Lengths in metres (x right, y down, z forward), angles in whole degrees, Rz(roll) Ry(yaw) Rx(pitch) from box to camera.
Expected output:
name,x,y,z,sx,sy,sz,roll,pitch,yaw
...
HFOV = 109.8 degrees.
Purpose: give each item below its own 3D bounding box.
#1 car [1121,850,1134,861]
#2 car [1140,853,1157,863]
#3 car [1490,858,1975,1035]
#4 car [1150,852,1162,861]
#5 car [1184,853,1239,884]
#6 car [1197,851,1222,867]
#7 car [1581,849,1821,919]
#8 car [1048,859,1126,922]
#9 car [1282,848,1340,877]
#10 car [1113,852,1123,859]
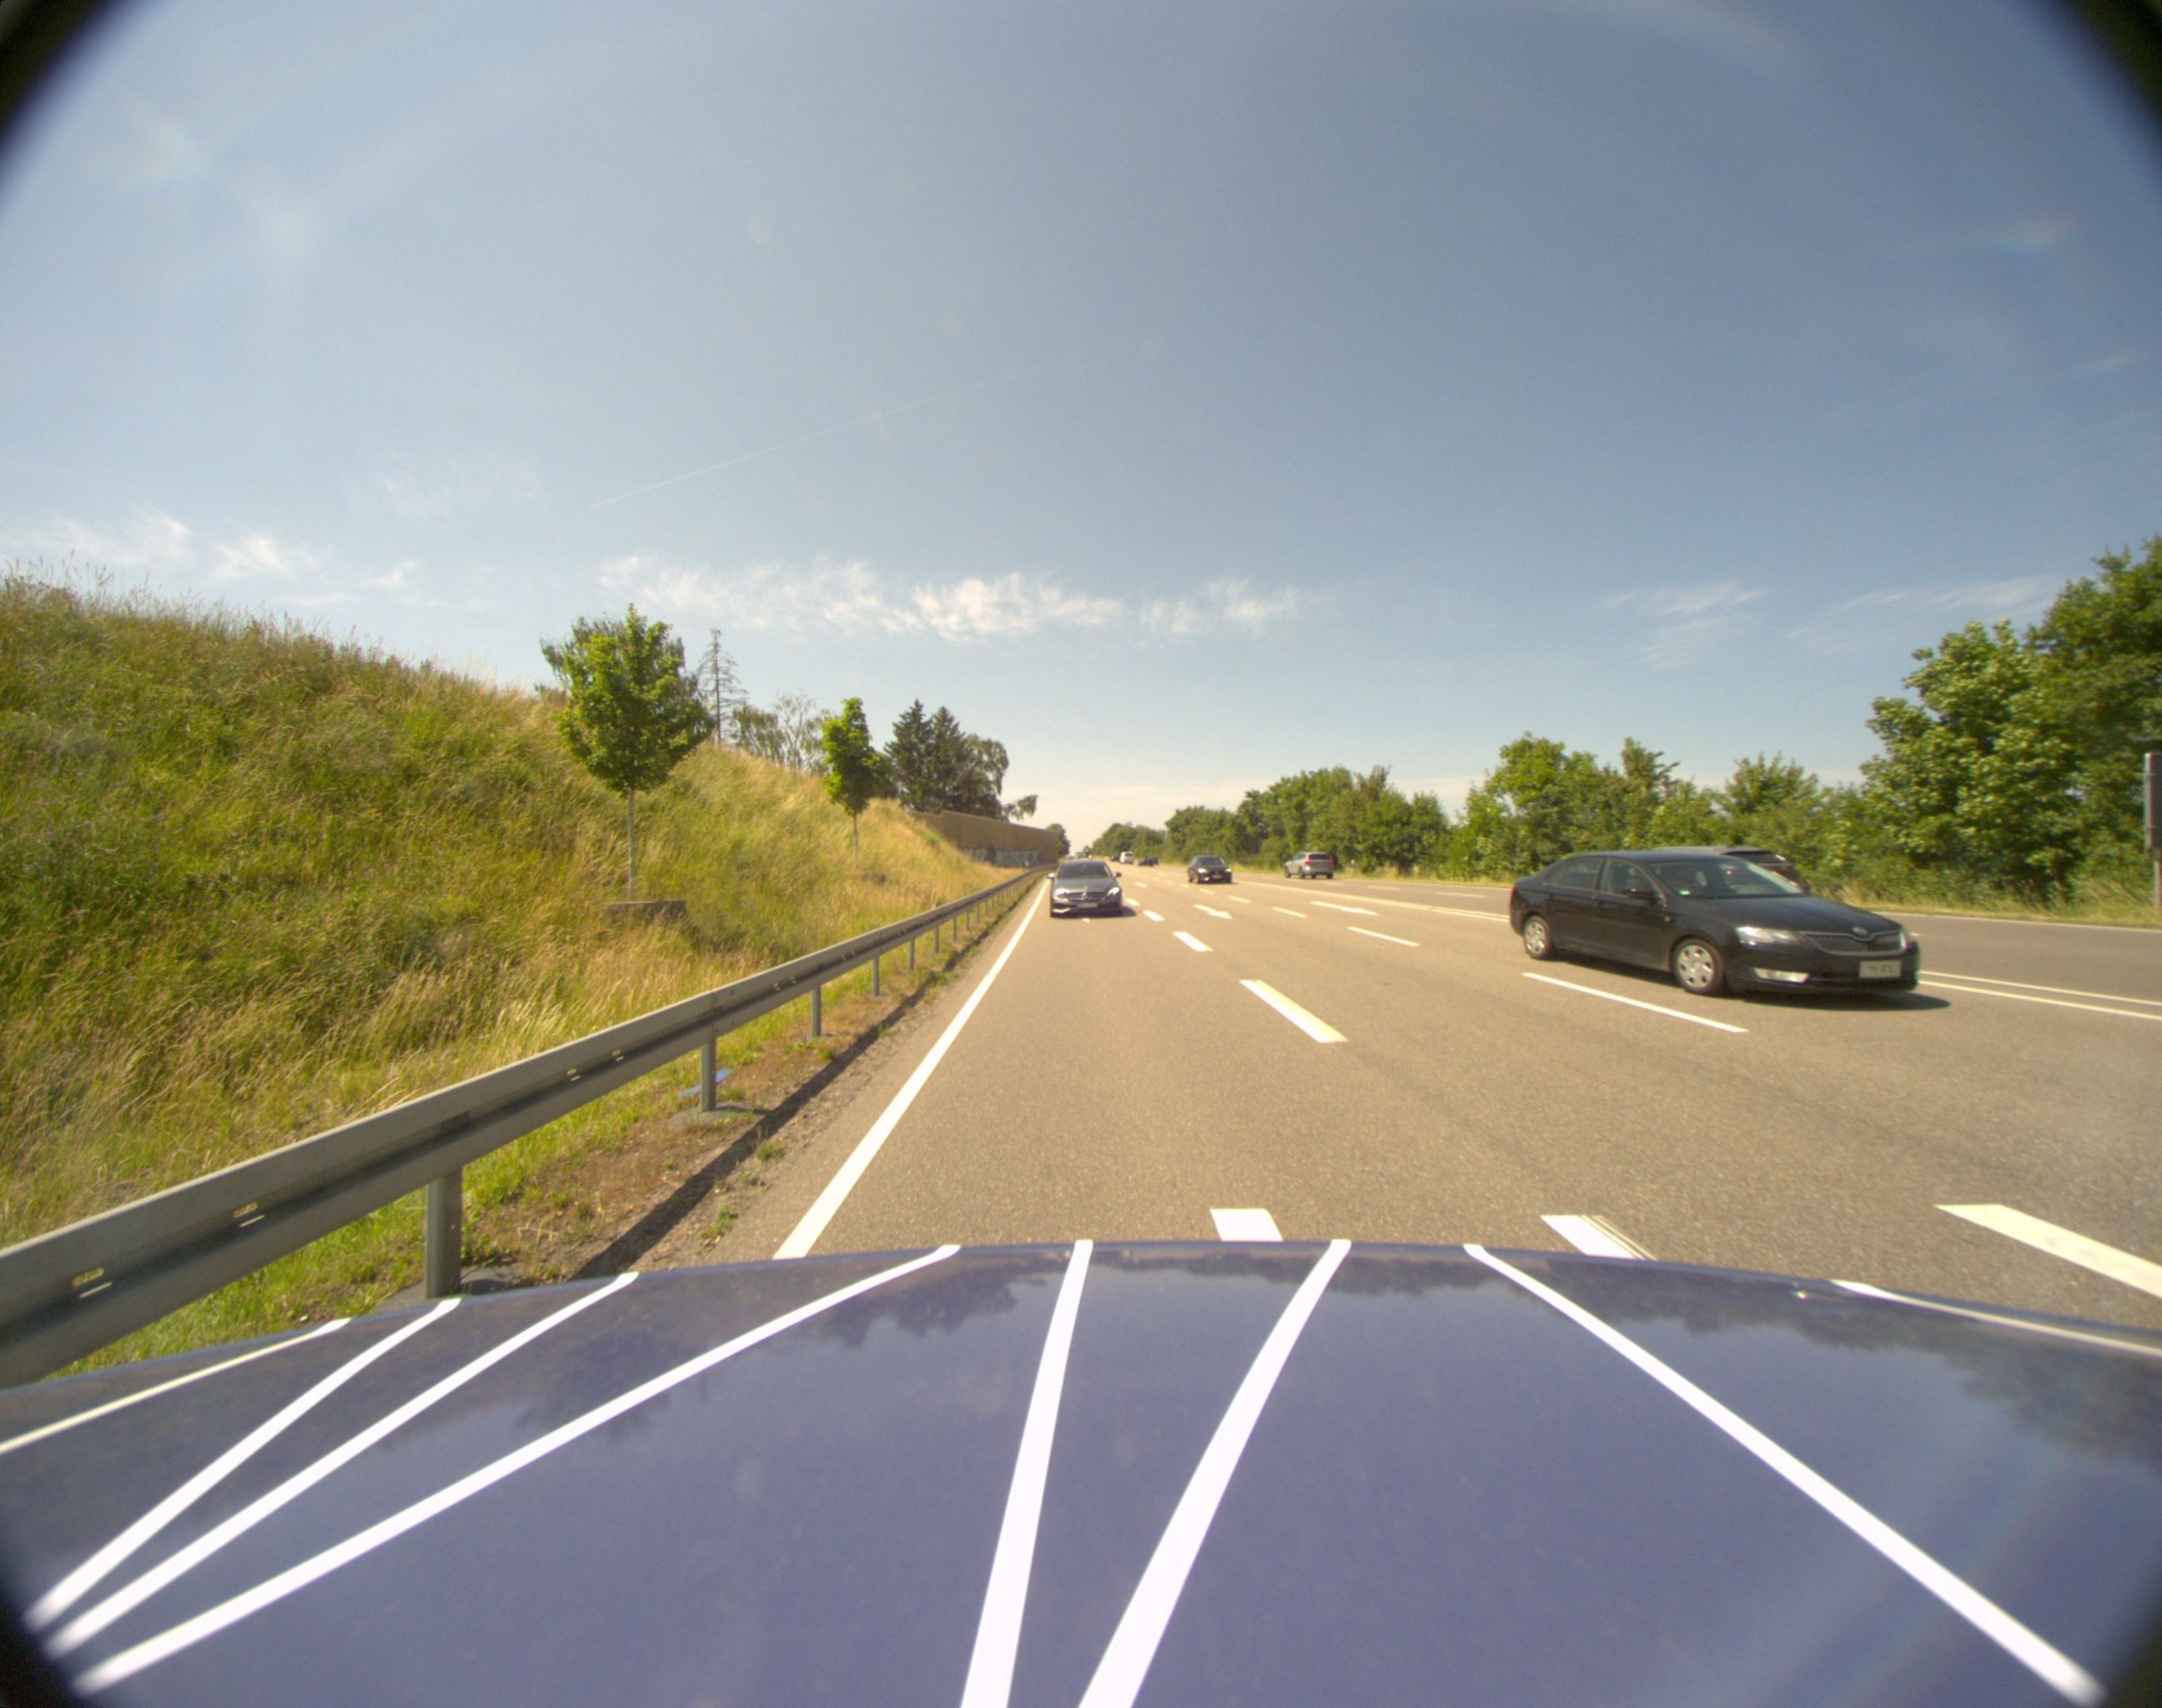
name,x,y,z,sx,sy,sz,roll,pitch,yaw
car,7.941,0.256,130.391,1.910,1.906,5.051,0,0,0
car,9.286,0.571,105.405,1.810,1.272,4.764,-1,0,-1
car,6.775,0.803,8.720,1.679,1.403,4.466,-2,1,-1
car,12.516,0.423,127.097,1.526,1.461,3.787,-2,1,-3
car,6.779,0.726,39.982,1.894,1.439,4.524,-2,1,-3
car,12.383,0.481,73.161,1.649,1.479,3.558,-2,0,-2
car,14.284,0.592,17.930,1.883,1.390,4.530,-2,1,-2
car,0.080,0.923,21.081,1.894,1.439,4.524,-2,1,-2
car,14.032,0.506,46.603,2.033,1.630,4.568,-2,0,-2
car,8.383,0.294,172.767,1.893,1.527,4.525,-2,1,0
